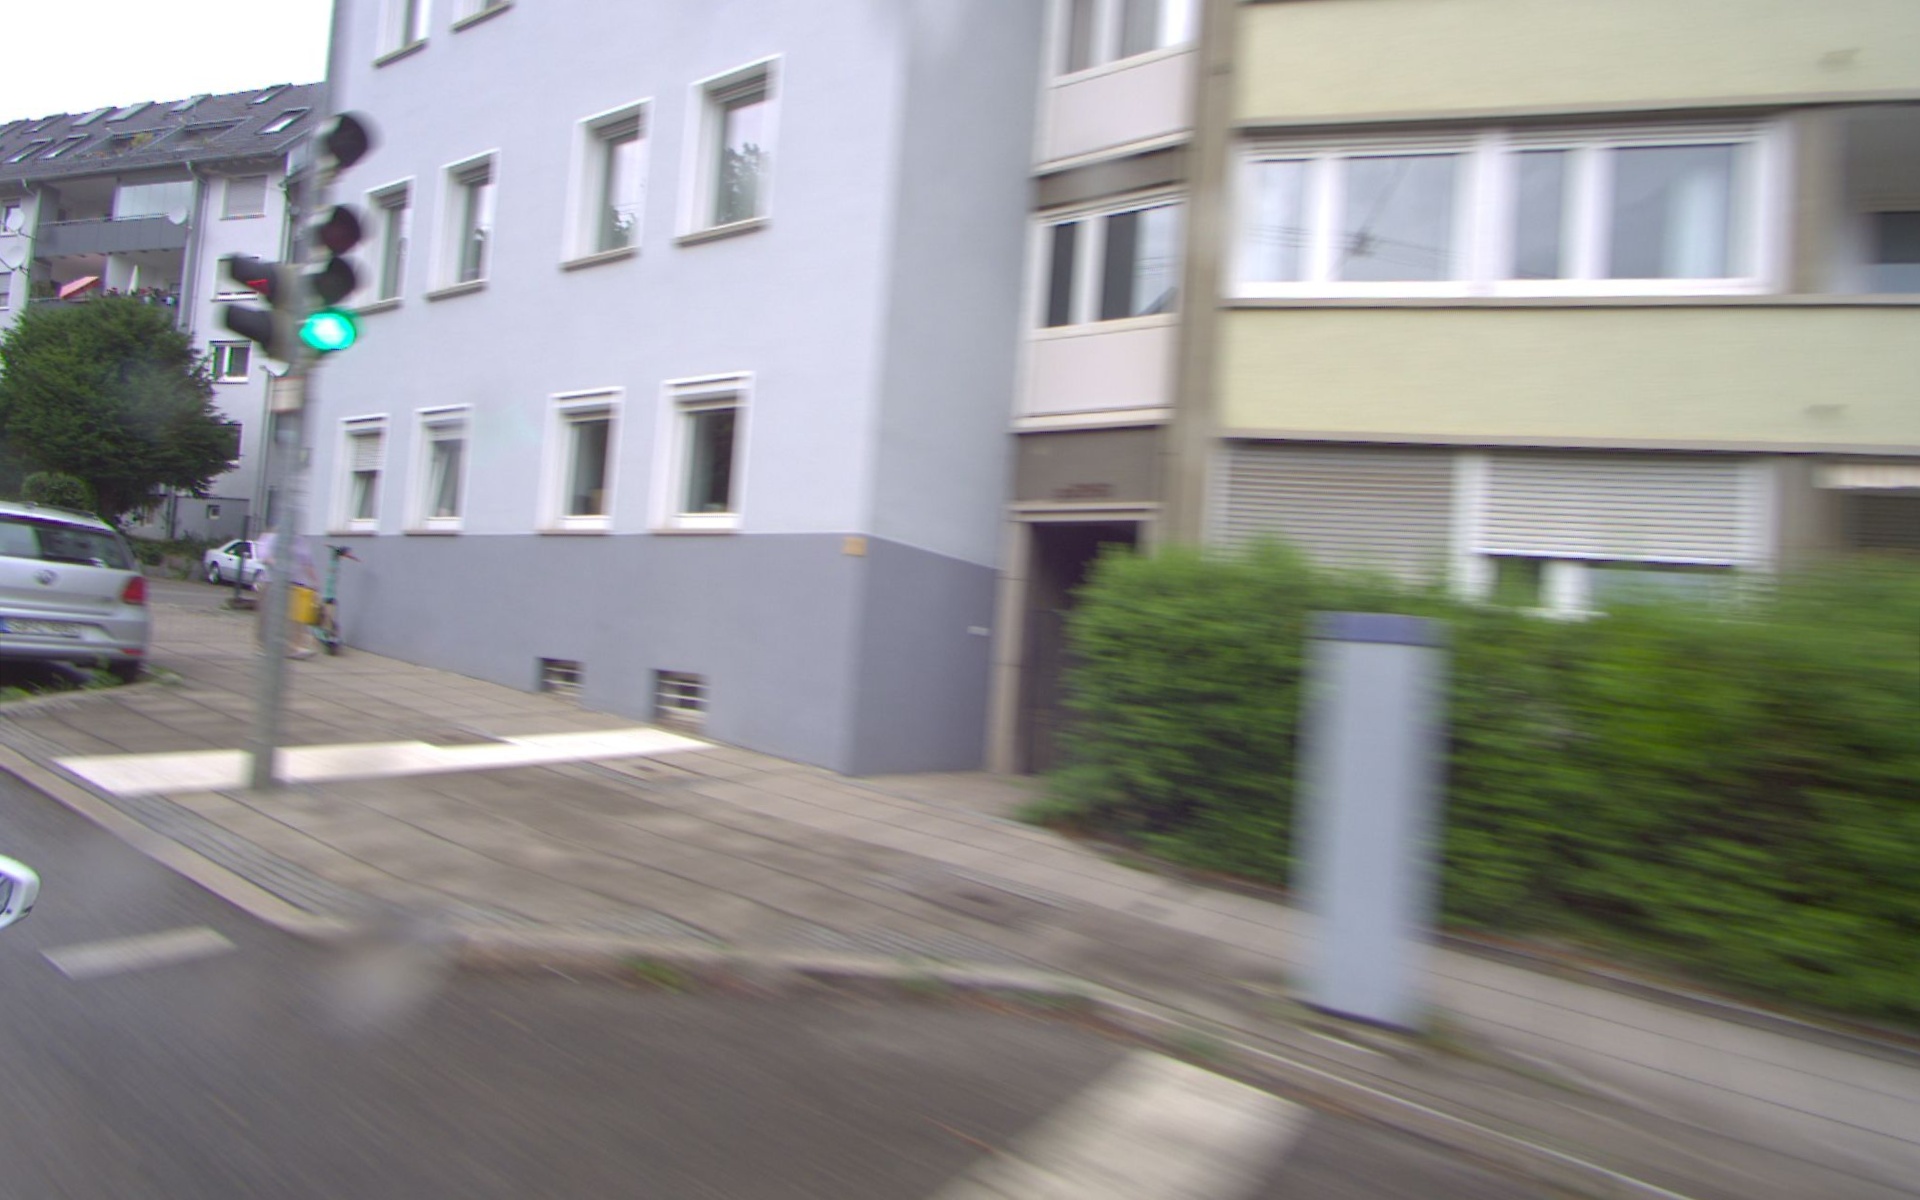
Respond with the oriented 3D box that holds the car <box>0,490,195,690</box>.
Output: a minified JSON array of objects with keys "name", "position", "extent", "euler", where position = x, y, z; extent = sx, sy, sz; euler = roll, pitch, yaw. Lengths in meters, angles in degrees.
[{"name":"car","position":[-8.803,-0.244,8.926],"extent":[4.033,1.449,1.709],"euler":[6,-3,31]}]

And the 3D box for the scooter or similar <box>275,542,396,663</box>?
[{"name":"scooter or similar","position":[-7.519,0.016,12.091],"extent":[1.586,1.264,0.575],"euler":[6,-2,37]}]

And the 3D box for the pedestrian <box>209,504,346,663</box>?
[{"name":"pedestrian","position":[-7.530,-0.173,11.116],"extent":[0.788,1.603,0.883],"euler":[9,1,34]}]

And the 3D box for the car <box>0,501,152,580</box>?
[{"name":"car","position":[-21.230,-1.380,23.925],"extent":[4.136,1.531,1.724],"euler":[2,-5,32]}]

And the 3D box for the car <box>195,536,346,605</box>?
[{"name":"car","position":[-19.362,-0.848,28.214],"extent":[4.357,1.394,1.780],"euler":[6,-2,32]}]

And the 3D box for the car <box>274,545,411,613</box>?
[{"name":"car","position":[-18.484,-0.630,30.082],"extent":[4.134,1.539,1.687],"euler":[6,-2,32]}]
